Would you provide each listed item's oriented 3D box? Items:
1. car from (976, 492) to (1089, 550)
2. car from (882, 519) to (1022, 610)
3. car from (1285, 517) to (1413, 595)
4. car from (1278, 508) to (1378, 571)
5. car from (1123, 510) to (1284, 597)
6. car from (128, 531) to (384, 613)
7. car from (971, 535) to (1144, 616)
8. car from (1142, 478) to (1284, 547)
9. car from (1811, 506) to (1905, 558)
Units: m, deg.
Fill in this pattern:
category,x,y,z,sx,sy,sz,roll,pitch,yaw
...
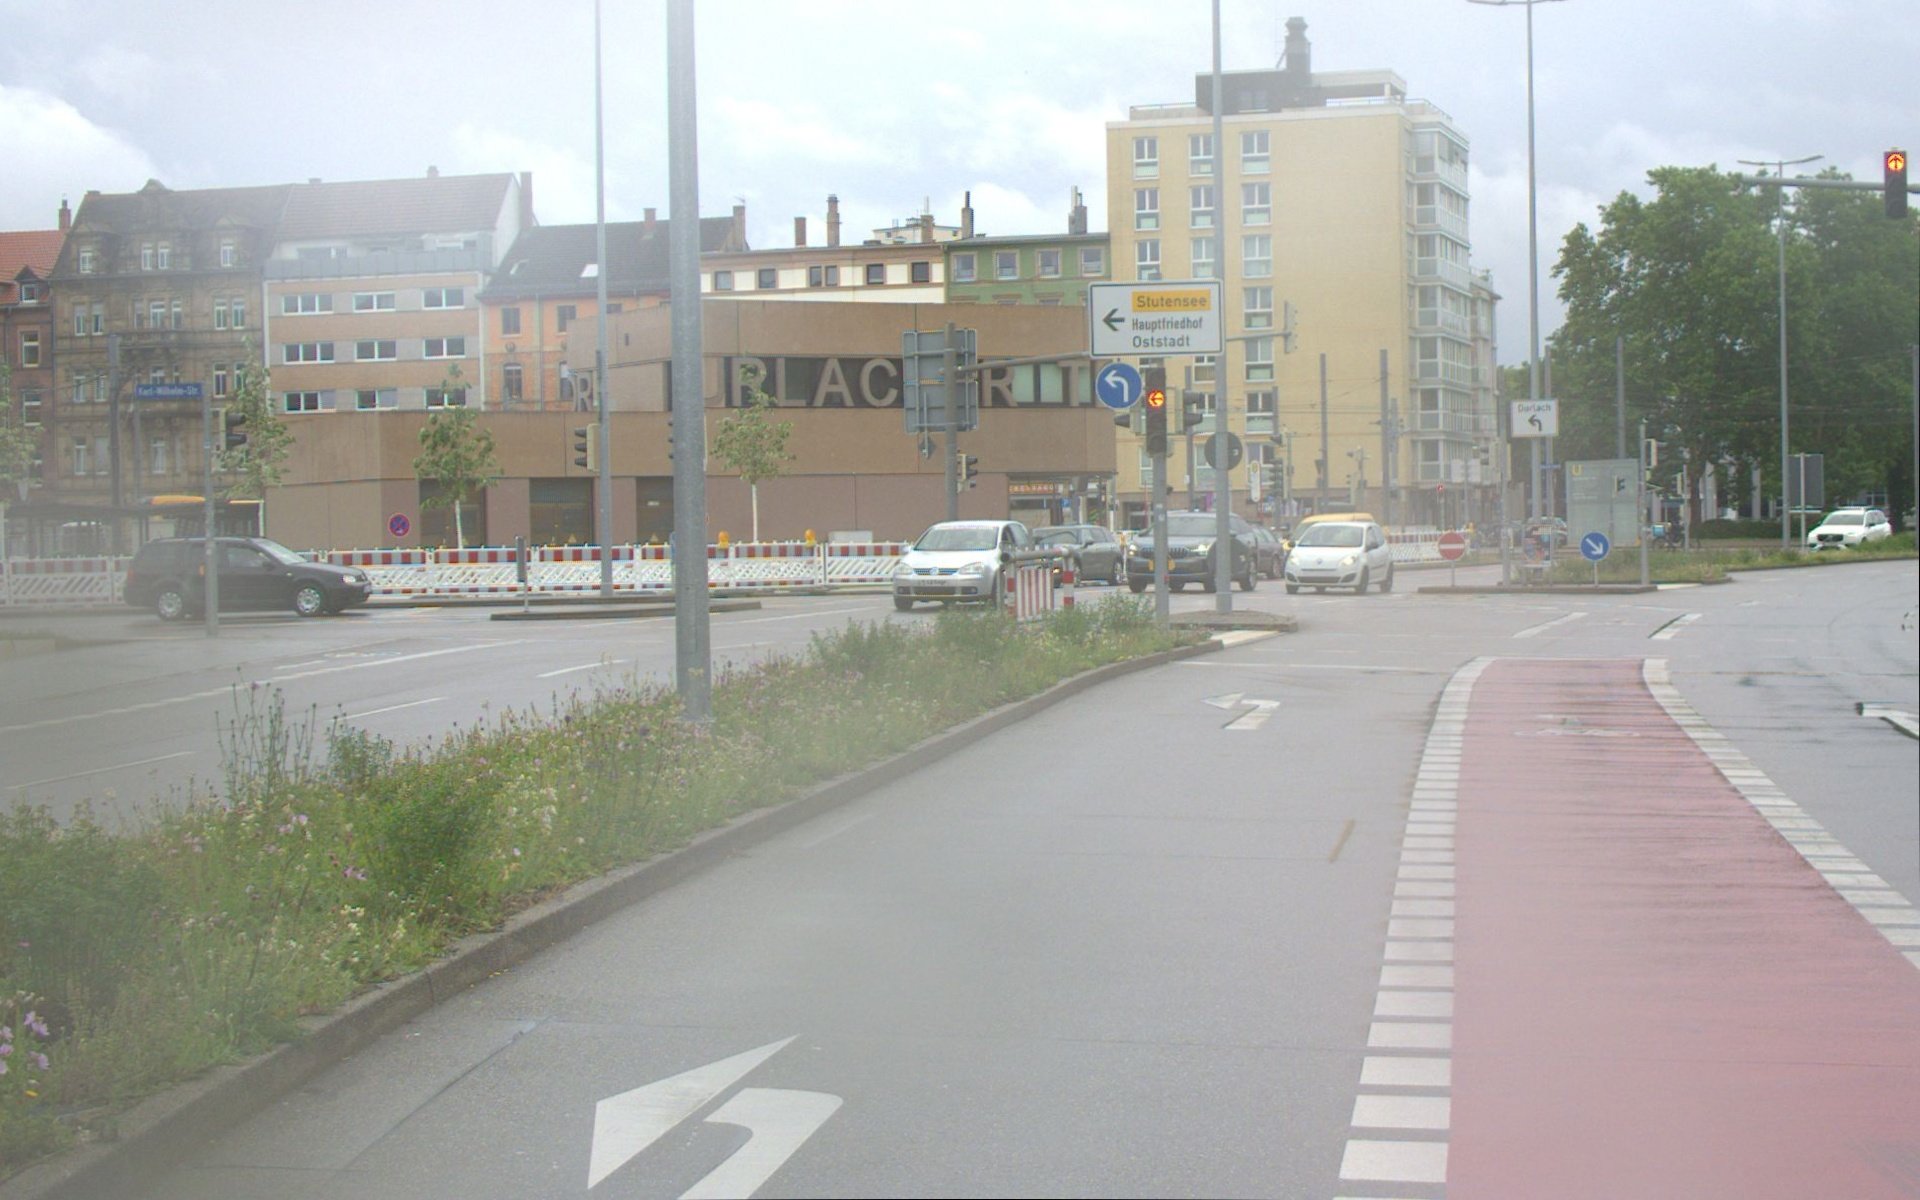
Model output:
category,x,y,z,sx,sy,sz,roll,pitch,yaw
car,3.692,-4.040,175.746,5.354,2.877,2.338,-1,1,14
car,-0.097,-0.620,57.620,1.680,1.399,4.157,-1,1,9
car,8.065,-0.936,71.021,1.681,1.496,3.864,-1,1,21
car,10.368,-1.714,96.592,1.707,1.700,4.148,0,2,22
car,5.075,-0.988,71.036,1.995,1.630,4.598,-2,1,21
car,-12.572,-0.505,61.538,4.192,1.397,1.618,-1,1,5
car,2.187,-0.553,76.102,1.710,1.700,3.810,1,2,43
car,12.772,-4.416,173.288,6.745,3.368,2.808,-1,1,14
car,32.138,-2.433,122.955,1.829,1.676,5.157,-2,1,31
